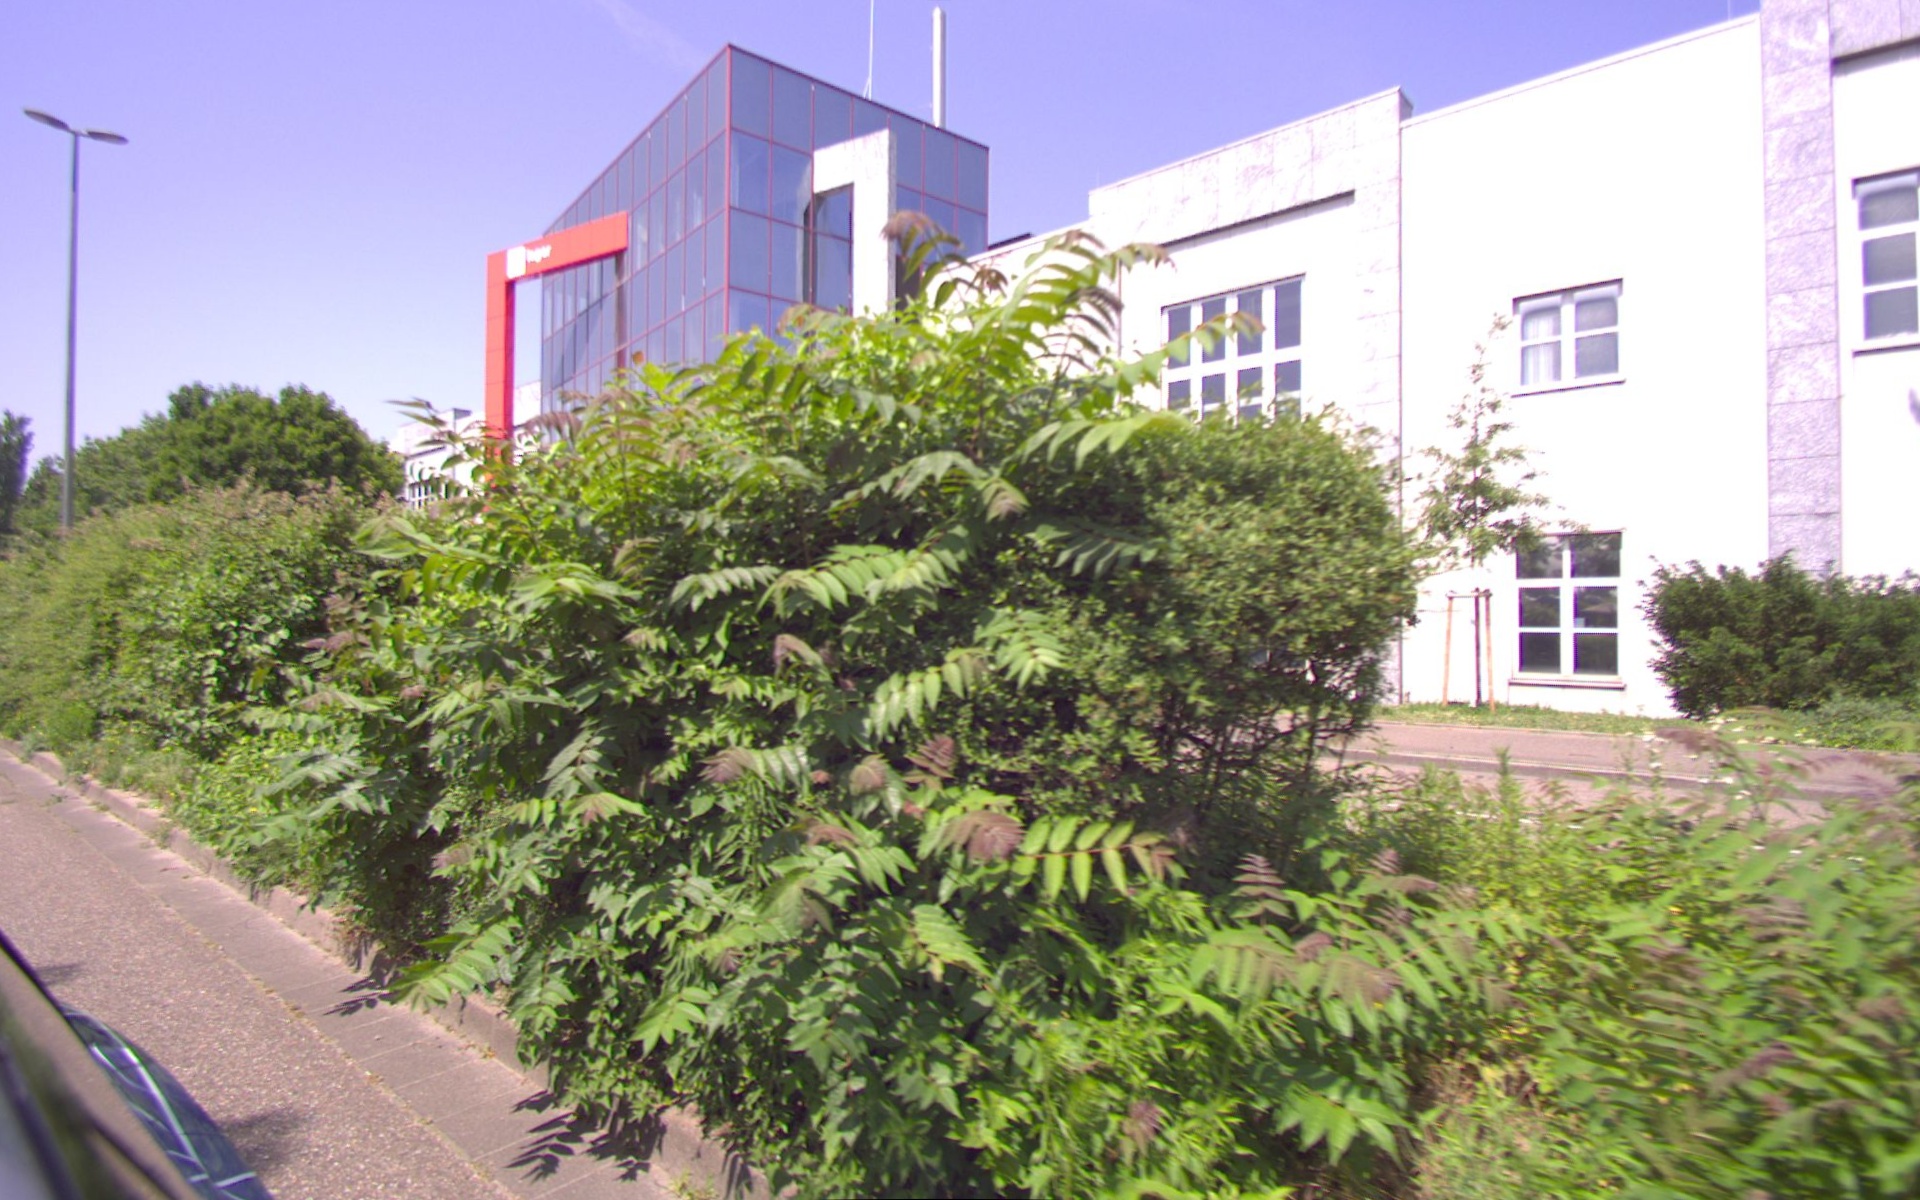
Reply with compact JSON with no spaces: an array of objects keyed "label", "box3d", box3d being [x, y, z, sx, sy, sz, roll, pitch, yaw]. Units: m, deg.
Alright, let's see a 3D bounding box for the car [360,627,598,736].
[{"label":"car","box3d":[-7.143,1.124,14.887,3.879,1.386,1.611,-1,-4,39]}]
